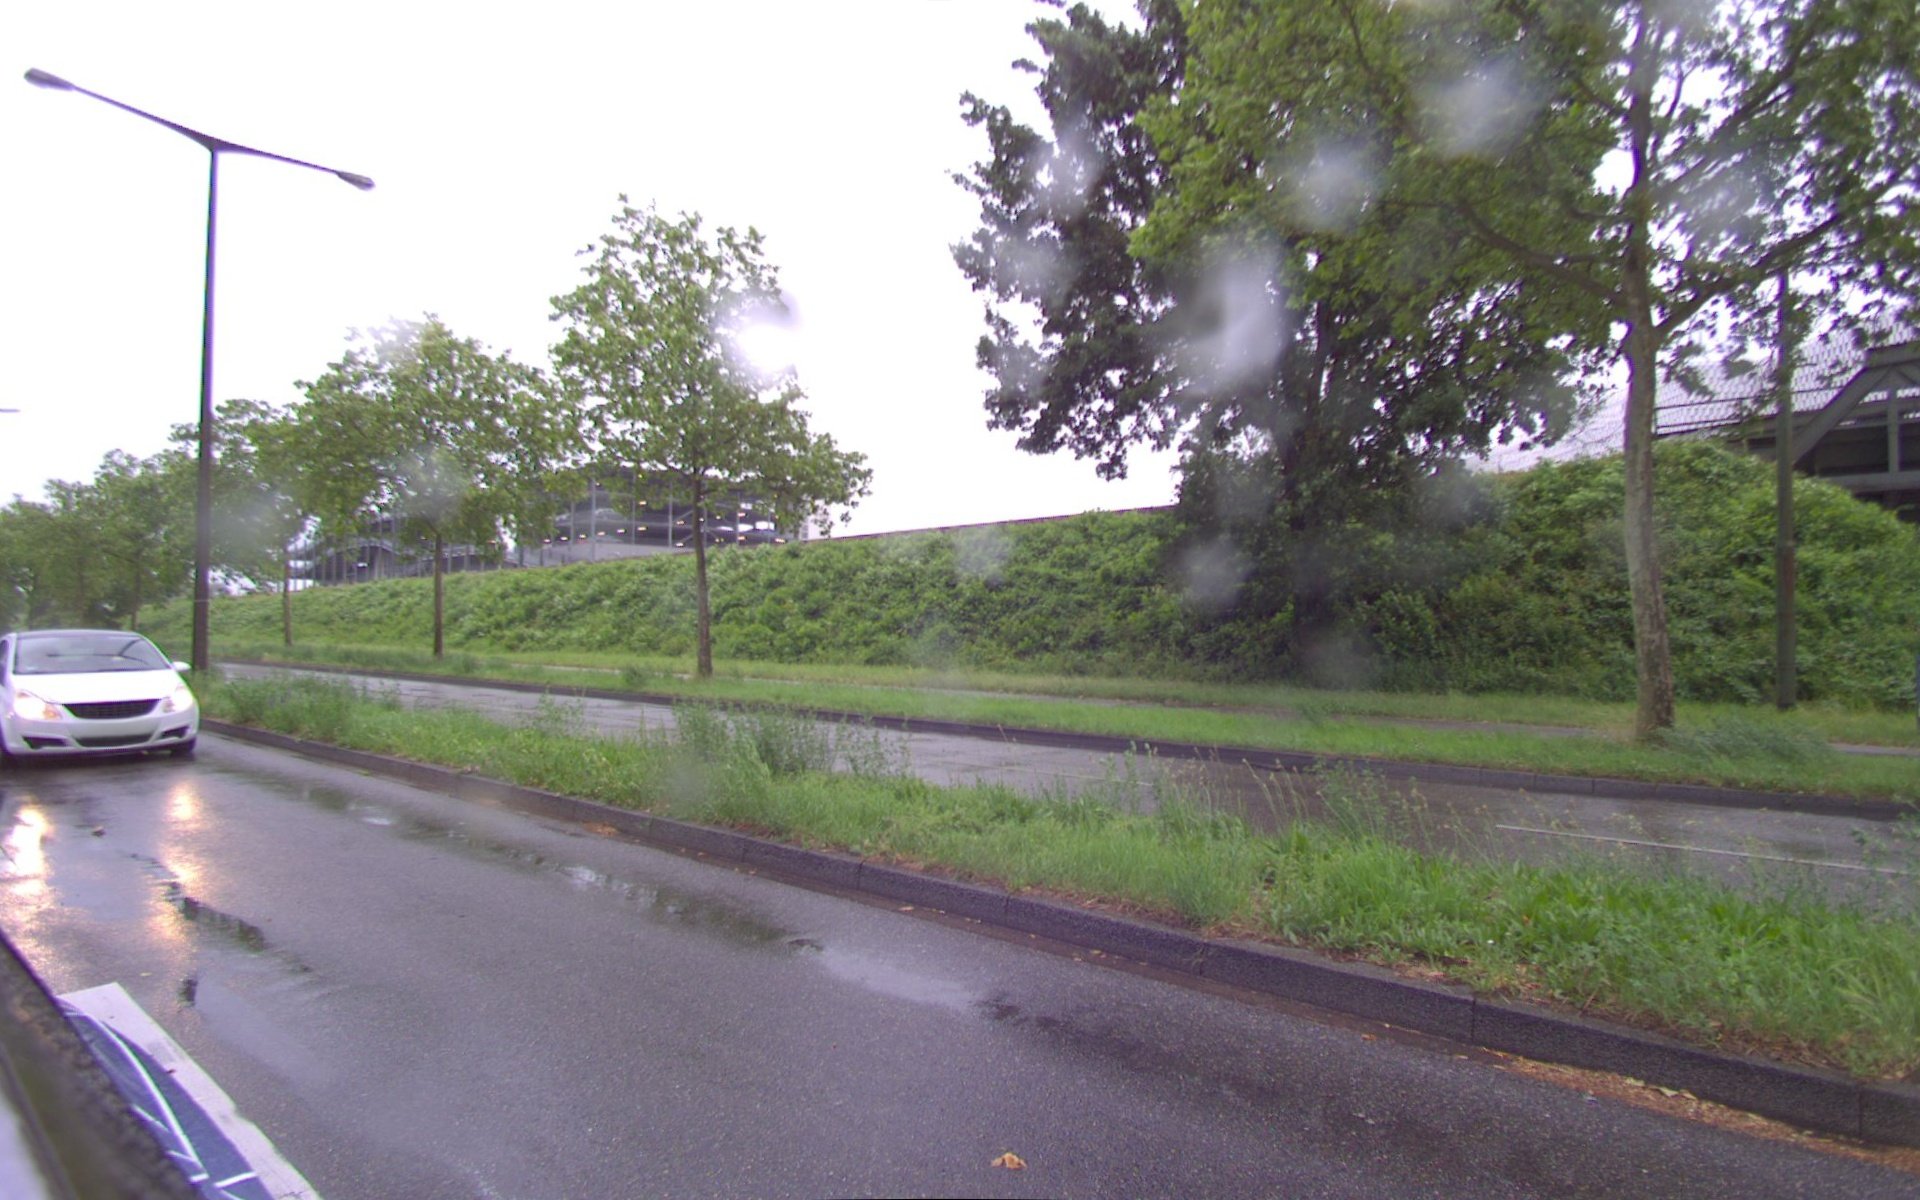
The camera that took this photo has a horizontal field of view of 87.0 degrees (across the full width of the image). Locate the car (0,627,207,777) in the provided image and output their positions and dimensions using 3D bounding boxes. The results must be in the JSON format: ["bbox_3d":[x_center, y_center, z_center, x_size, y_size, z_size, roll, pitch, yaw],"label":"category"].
[{"bbox_3d":[-10.178,1.035,11.594,4.008,1.387,1.661,-2,-1,41],"label":"car"}]
